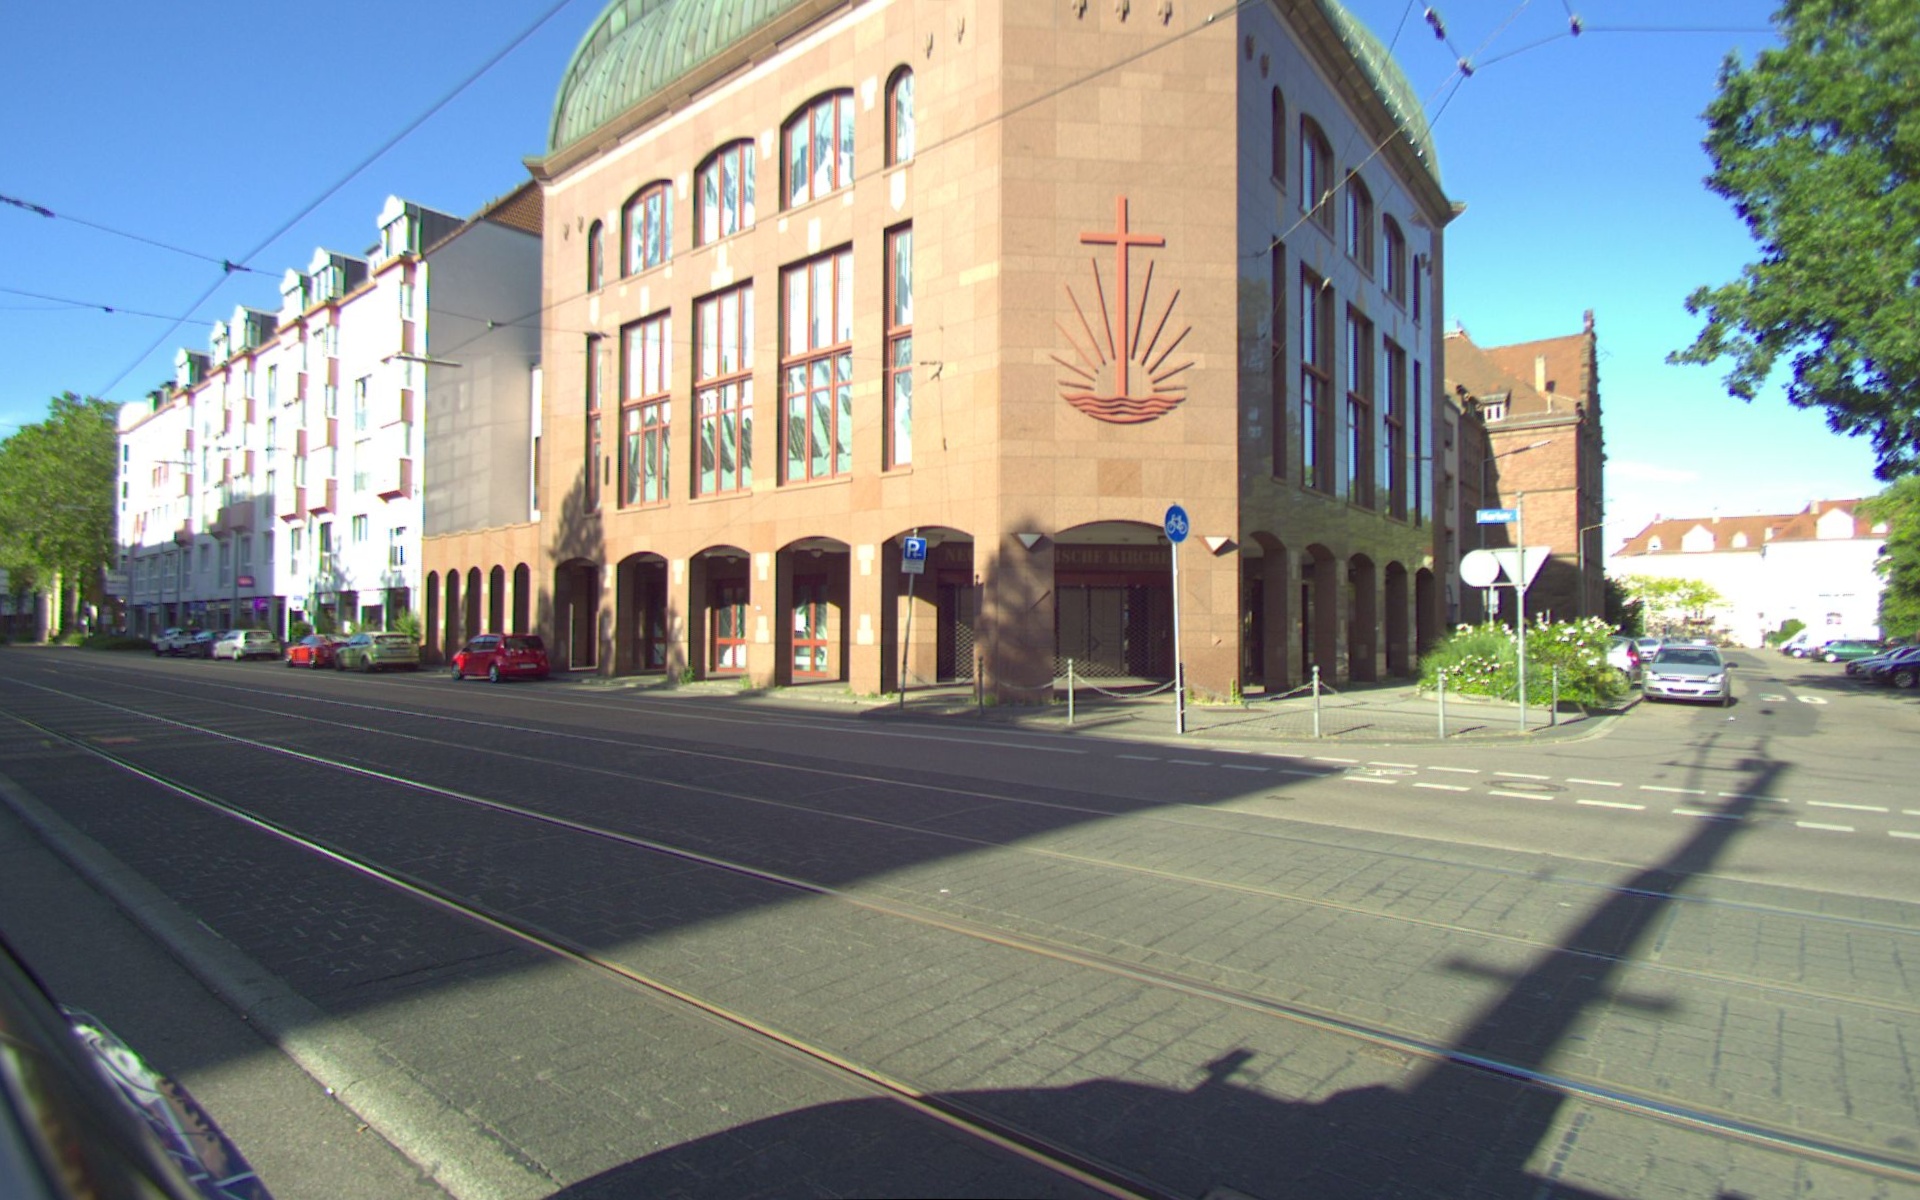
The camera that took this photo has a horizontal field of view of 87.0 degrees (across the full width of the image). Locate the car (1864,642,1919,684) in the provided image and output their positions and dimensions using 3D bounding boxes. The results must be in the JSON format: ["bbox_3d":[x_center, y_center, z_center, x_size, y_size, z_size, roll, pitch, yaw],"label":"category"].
[{"bbox_3d":[37.155,2.371,38.001,4.726,1.542,1.972,-2,-3,43],"label":"car"}]

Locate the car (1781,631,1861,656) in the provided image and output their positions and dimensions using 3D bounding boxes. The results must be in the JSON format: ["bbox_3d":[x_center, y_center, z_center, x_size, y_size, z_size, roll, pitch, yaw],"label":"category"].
[{"bbox_3d":[70.879,3.577,83.415,4.829,2.029,1.974,-2,-3,39],"label":"car"}]

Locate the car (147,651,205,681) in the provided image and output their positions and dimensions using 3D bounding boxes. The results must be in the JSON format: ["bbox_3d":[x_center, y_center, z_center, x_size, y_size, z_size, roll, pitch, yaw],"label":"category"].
[{"bbox_3d":[-43.204,3.615,55.771,3.851,1.465,1.832,-2,-2,41],"label":"car"}]

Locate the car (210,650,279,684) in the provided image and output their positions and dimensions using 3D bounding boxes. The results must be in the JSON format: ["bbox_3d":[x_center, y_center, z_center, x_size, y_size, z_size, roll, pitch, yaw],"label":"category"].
[{"bbox_3d":[-33.787,3.143,47.777,3.851,1.465,1.832,-2,-2,41],"label":"car"}]

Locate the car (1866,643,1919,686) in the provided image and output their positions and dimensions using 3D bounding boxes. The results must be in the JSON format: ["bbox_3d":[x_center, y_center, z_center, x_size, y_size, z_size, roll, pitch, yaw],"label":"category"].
[{"bbox_3d":[35.788,2.332,36.379,4.726,1.542,1.972,-2,-3,43],"label":"car"}]

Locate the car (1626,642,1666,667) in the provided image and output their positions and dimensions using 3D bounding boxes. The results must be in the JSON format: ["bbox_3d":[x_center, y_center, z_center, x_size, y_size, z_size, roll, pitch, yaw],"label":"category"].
[{"bbox_3d":[43.543,3.449,64.174,1.996,1.542,4.175,-2,-3,35],"label":"car"}]

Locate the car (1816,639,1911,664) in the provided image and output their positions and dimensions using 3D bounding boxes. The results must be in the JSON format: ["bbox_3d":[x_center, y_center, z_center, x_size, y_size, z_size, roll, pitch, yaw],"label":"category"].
[{"bbox_3d":[57.247,3.261,64.207,4.267,1.542,1.975,-2,-3,37],"label":"car"}]

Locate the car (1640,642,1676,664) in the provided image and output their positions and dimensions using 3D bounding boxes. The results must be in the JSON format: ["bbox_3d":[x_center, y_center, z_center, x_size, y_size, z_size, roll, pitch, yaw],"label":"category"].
[{"bbox_3d":[49.431,3.734,71.641,1.996,1.542,4.175,-2,-3,35],"label":"car"}]

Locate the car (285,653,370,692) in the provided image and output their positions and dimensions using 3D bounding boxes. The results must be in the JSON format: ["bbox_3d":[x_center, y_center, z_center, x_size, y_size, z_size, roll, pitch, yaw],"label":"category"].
[{"bbox_3d":[-25.221,2.863,40.311,3.851,1.364,1.832,-2,-2,41],"label":"car"}]

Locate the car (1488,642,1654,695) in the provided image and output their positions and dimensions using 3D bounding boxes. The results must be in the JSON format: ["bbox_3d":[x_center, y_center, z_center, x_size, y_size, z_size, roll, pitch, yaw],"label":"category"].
[{"bbox_3d":[18.966,2.065,31.485,4.267,1.542,1.975,-2,-3,36],"label":"car"}]

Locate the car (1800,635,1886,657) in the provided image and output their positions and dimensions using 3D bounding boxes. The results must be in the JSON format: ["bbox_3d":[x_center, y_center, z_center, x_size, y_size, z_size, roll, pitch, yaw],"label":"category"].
[{"bbox_3d":[61.558,3.204,70.656,4.267,1.542,1.975,-2,-3,37],"label":"car"}]

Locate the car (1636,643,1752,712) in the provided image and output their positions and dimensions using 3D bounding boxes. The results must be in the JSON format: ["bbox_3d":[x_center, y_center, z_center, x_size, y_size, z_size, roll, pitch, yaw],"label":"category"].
[{"bbox_3d":[18.292,1.849,25.154,1.999,1.542,4.217,-2,-3,40],"label":"car"}]

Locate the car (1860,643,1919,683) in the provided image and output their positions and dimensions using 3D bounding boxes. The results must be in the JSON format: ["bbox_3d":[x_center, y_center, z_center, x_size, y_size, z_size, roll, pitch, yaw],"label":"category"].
[{"bbox_3d":[38.677,2.474,39.874,4.726,1.542,1.972,-2,-3,43],"label":"car"}]

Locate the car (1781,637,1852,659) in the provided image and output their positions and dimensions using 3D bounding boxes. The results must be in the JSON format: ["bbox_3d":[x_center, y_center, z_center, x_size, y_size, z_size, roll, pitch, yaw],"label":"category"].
[{"bbox_3d":[78.698,4.398,93.072,4.829,2.029,1.974,-2,-3,39],"label":"car"}]

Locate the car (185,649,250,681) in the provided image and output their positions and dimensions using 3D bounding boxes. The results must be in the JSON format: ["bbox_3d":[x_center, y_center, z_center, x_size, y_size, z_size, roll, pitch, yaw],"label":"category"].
[{"bbox_3d":[-37.417,3.266,50.967,3.851,1.465,1.832,-2,-2,41],"label":"car"}]

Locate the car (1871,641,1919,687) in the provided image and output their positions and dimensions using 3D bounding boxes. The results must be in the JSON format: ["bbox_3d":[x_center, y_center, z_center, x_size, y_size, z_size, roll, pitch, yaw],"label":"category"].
[{"bbox_3d":[34.151,2.177,34.373,4.726,1.542,1.972,-2,-3,43],"label":"car"}]

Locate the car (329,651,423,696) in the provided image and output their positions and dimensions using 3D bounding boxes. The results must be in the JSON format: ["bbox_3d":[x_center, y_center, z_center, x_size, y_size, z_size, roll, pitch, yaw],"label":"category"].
[{"bbox_3d":[-21.458,2.667,37.136,3.851,1.465,1.832,-2,-2,41],"label":"car"}]

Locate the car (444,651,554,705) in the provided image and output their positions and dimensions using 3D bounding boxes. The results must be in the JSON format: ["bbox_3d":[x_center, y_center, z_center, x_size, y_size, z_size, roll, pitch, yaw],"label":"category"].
[{"bbox_3d":[-14.098,2.341,30.895,3.468,1.465,1.731,-2,-2,40],"label":"car"}]
